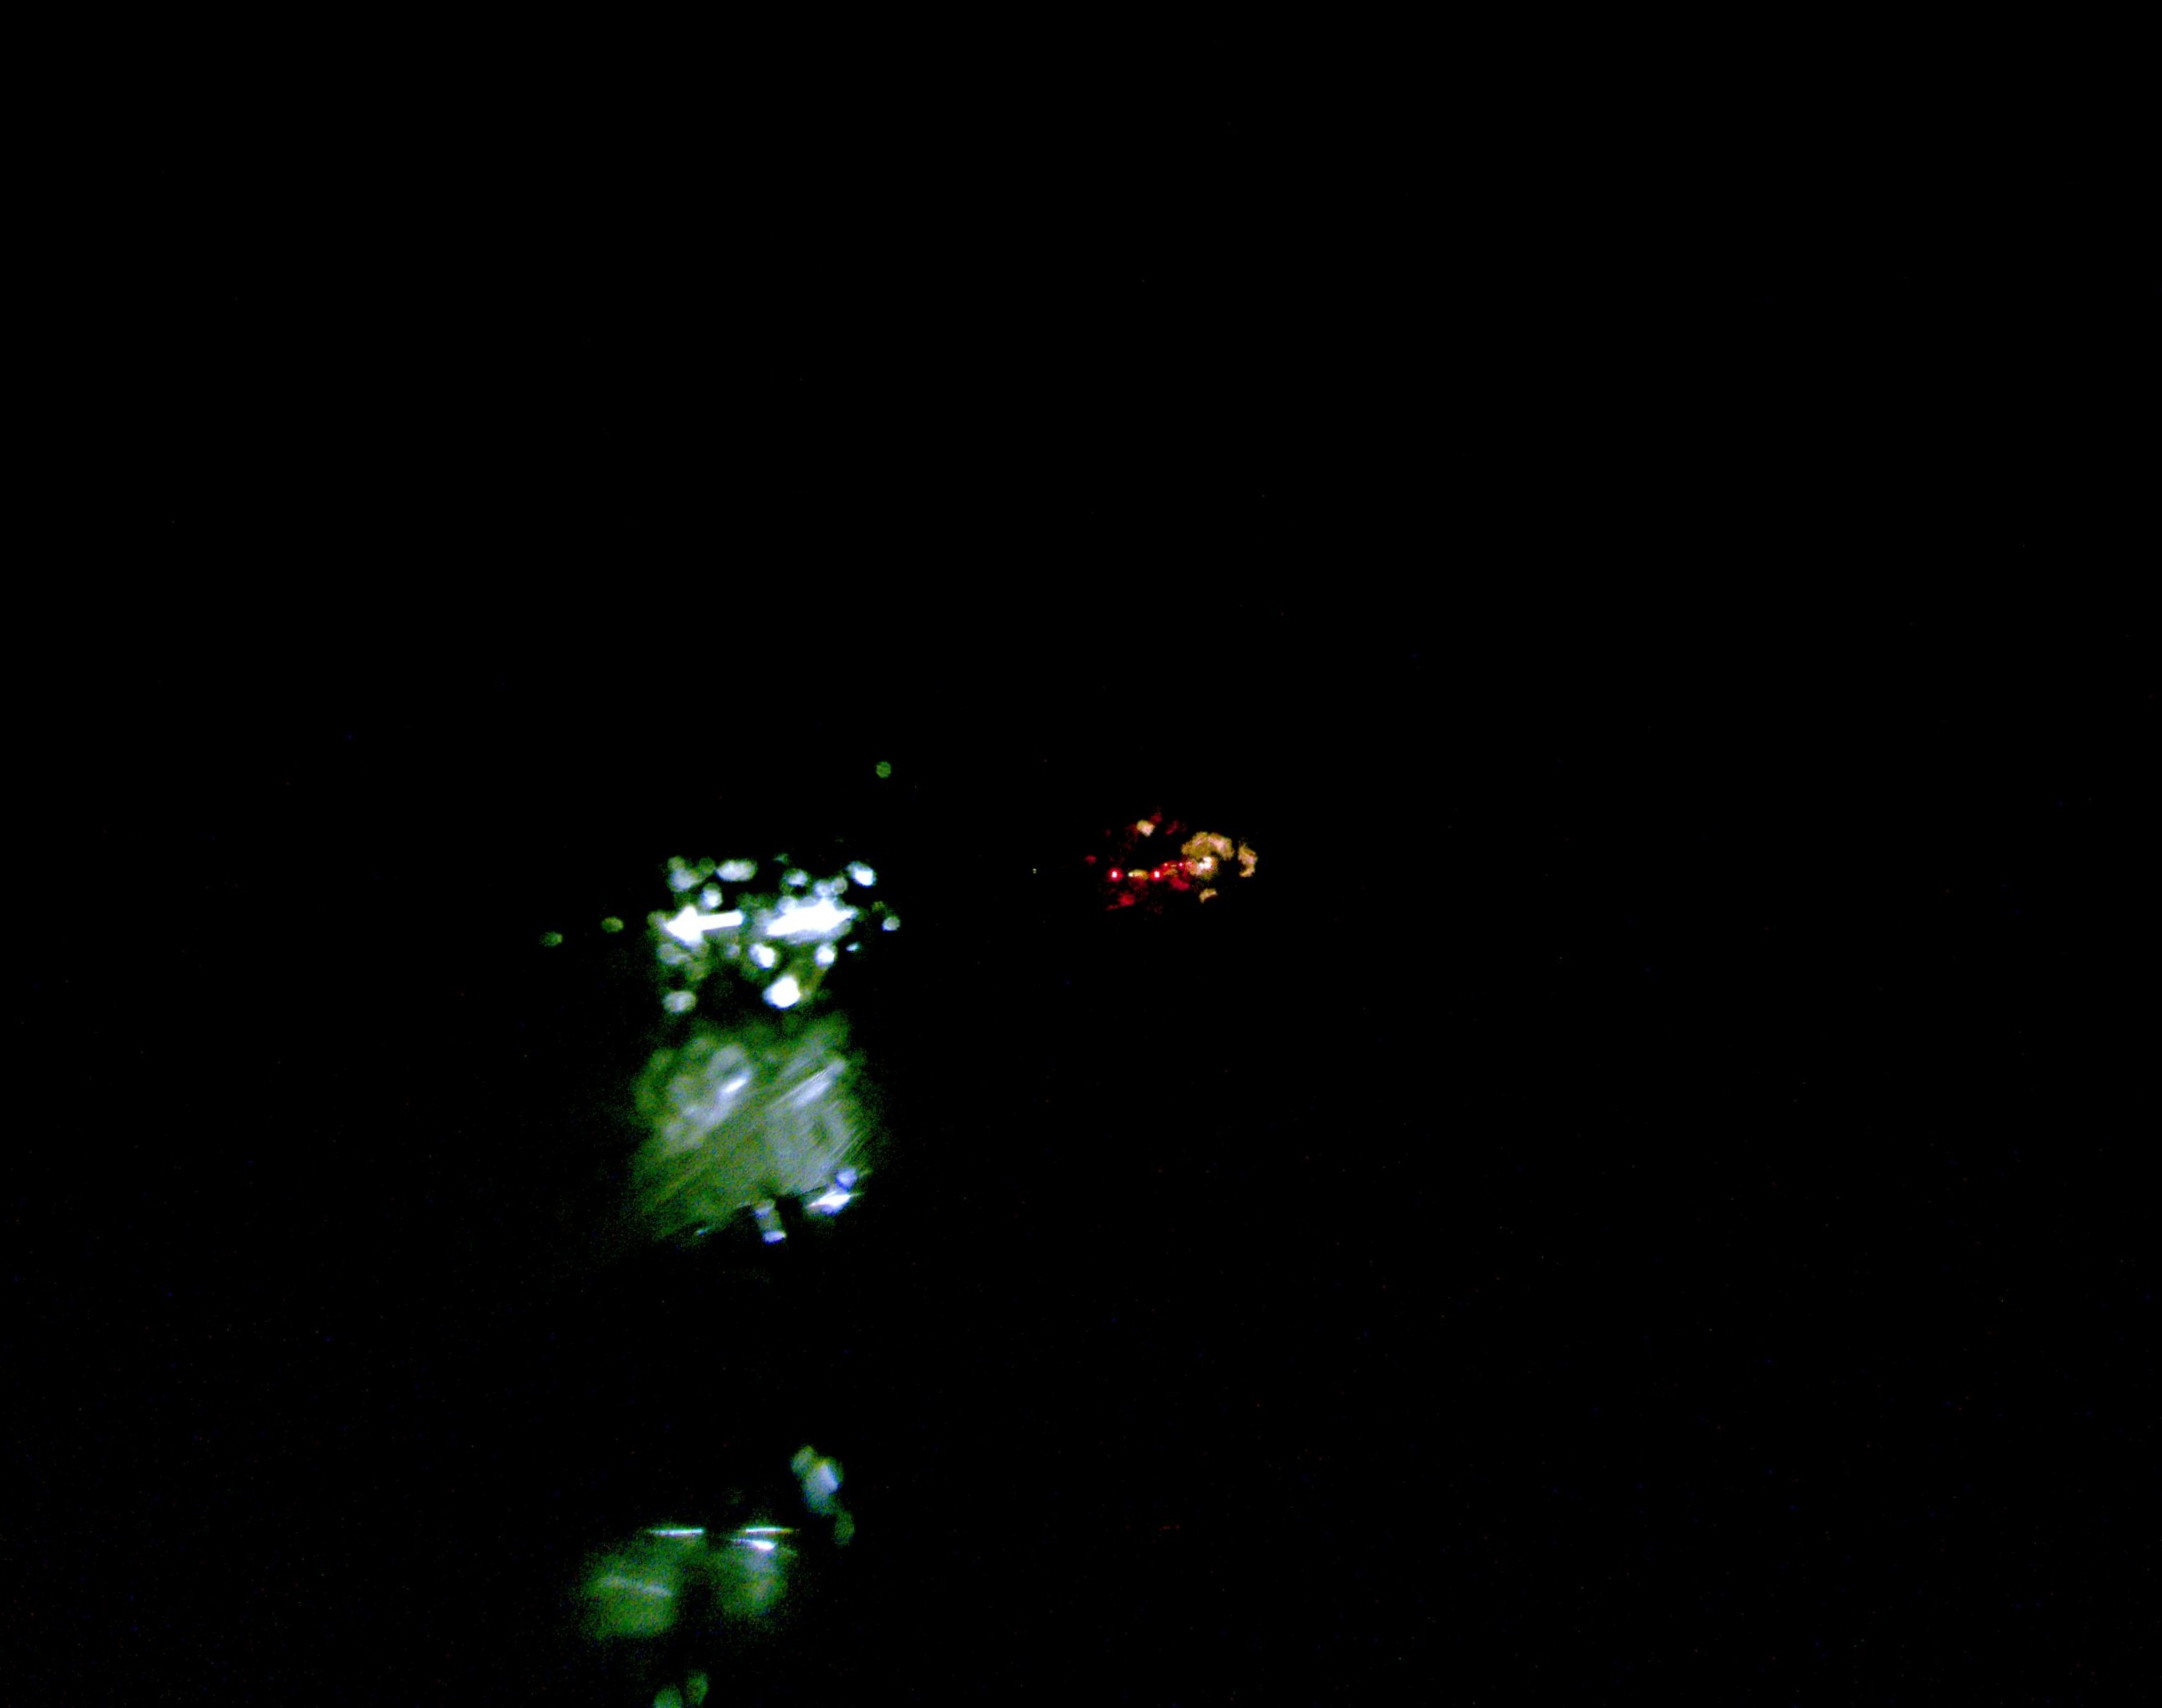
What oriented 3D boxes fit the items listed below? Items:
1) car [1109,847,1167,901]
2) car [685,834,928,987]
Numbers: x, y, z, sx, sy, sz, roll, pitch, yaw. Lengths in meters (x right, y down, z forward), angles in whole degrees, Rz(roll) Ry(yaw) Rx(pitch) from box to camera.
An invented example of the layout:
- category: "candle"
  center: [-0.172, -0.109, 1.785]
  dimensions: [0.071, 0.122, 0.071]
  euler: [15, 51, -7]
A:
- category: "car"
  center: [2.236, 0.720, 31.350]
  dimensions: [1.984, 1.807, 3.923]
  euler: [-4, 0, 5]
- category: "car"
  center: [-3.546, 0.640, 11.371]
  dimensions: [1.835, 1.720, 3.963]
  euler: [-1, 0, 3]
